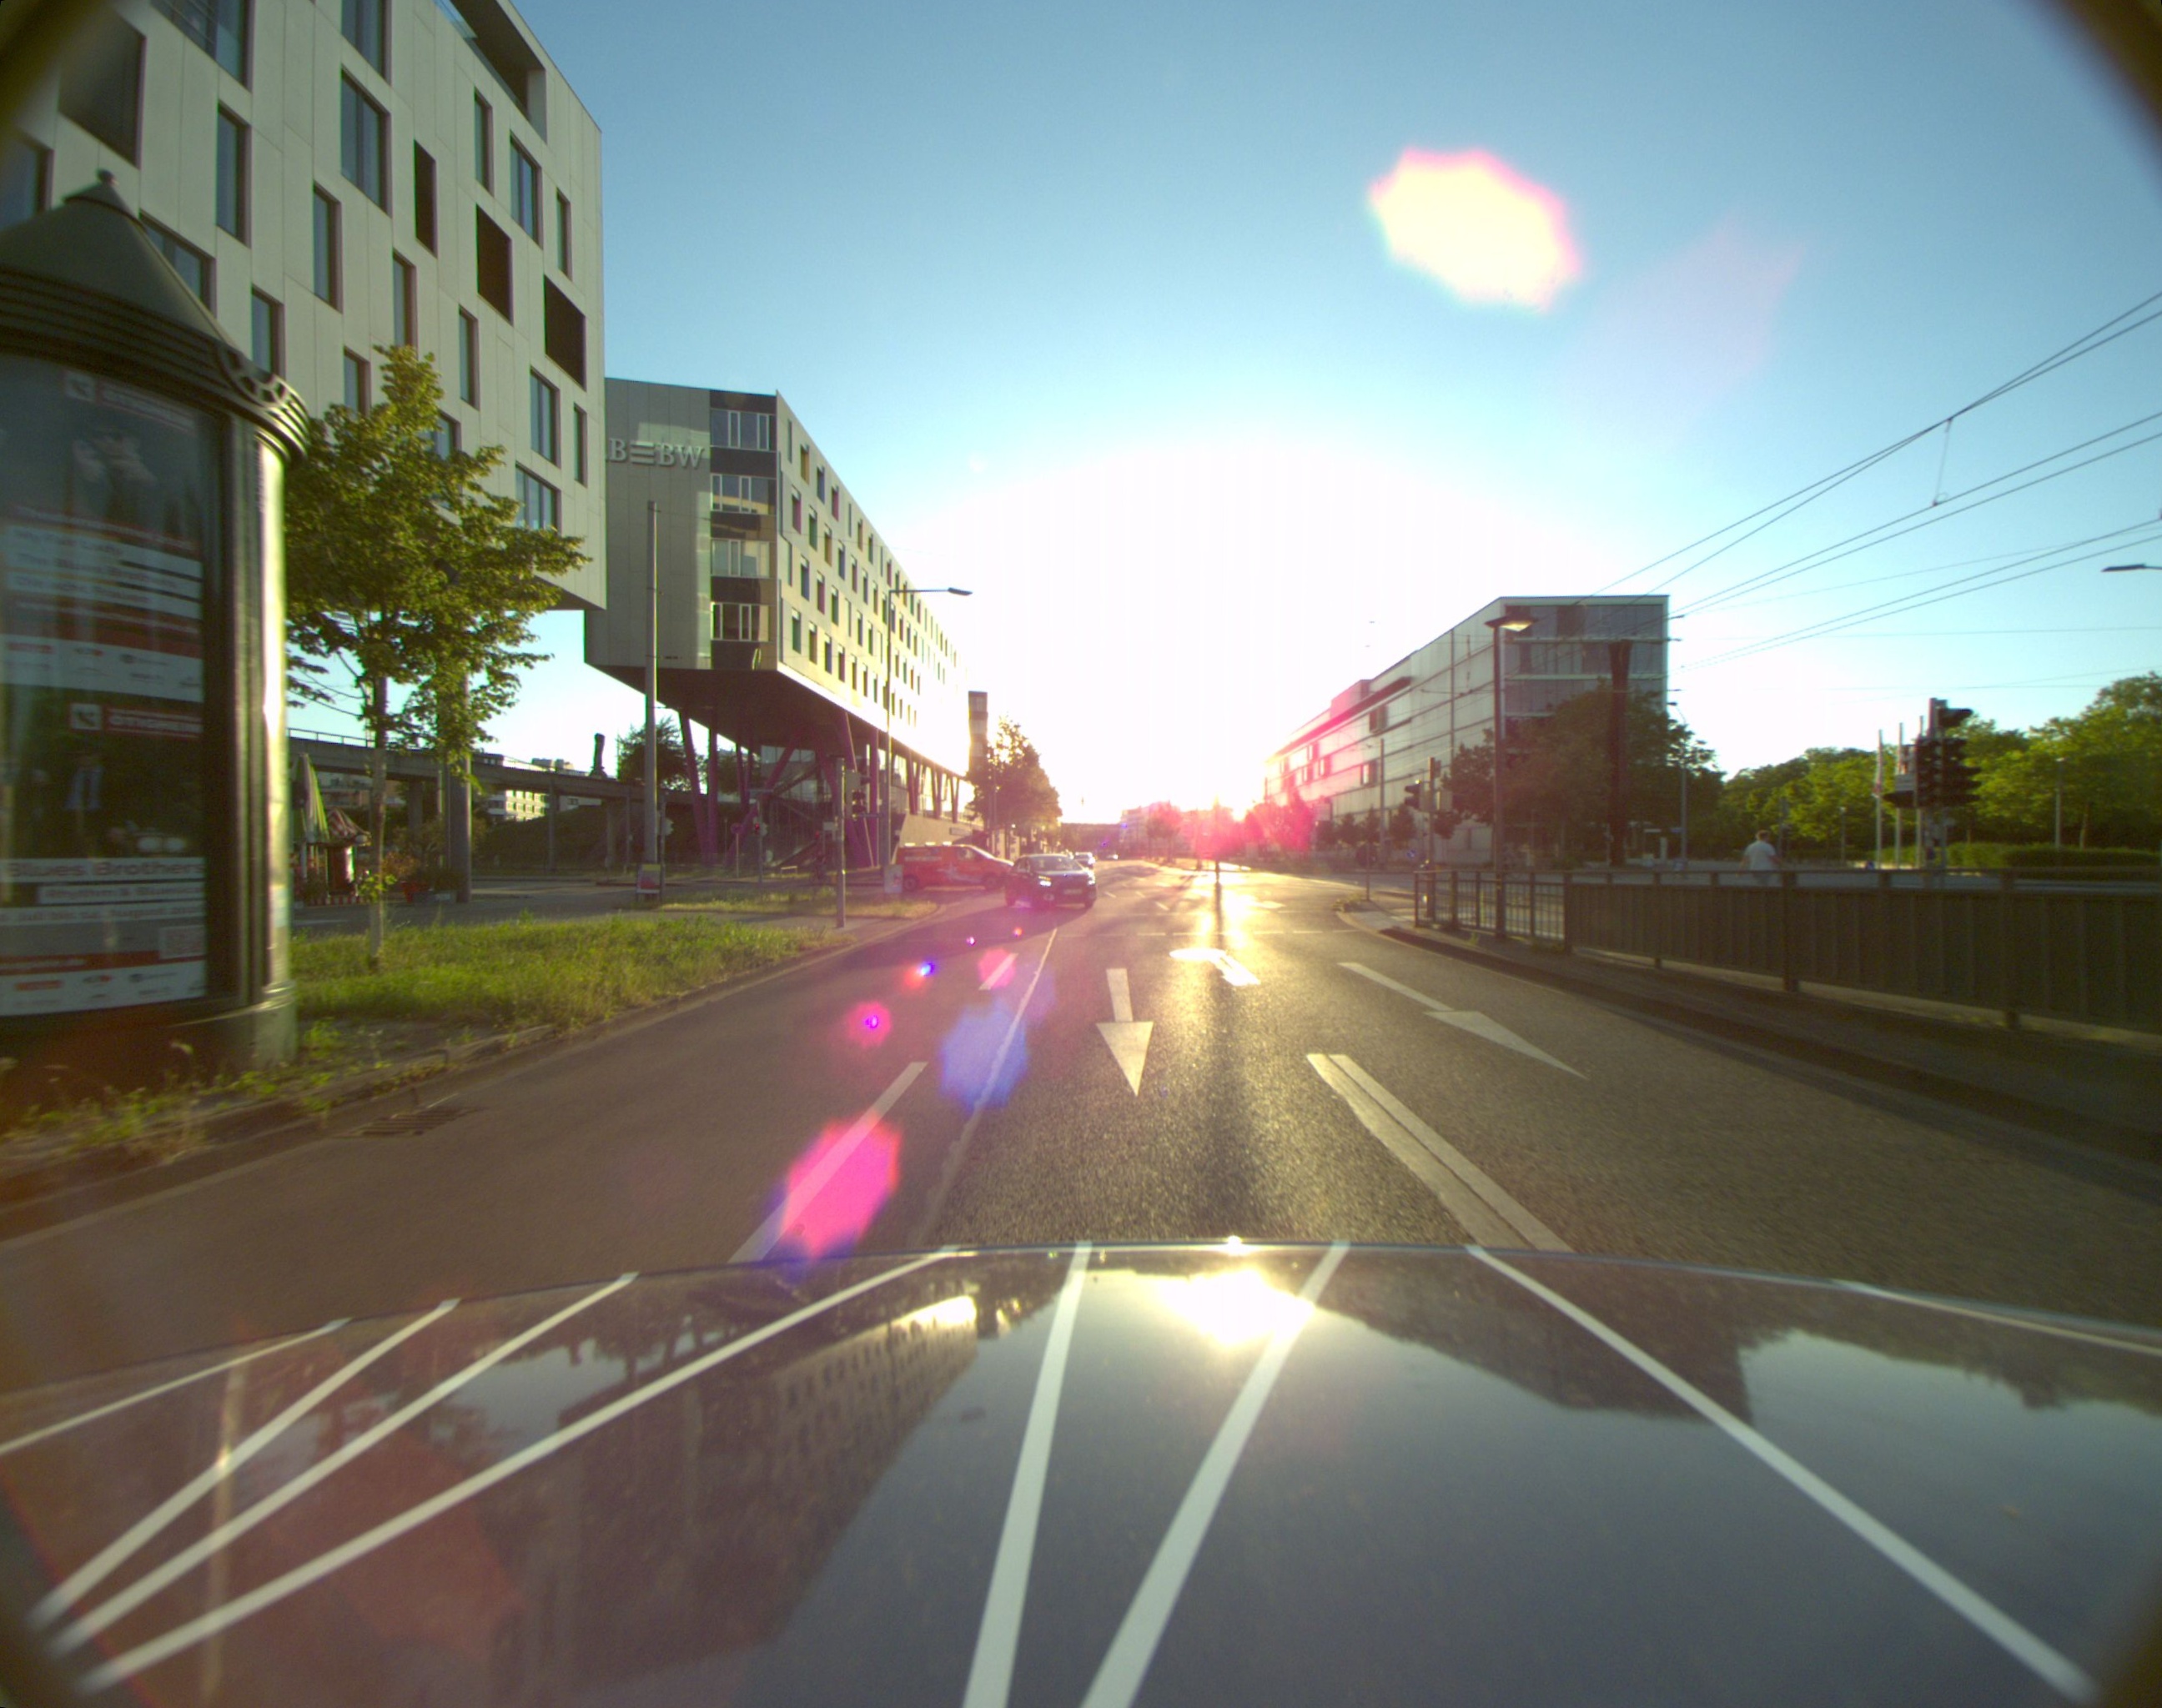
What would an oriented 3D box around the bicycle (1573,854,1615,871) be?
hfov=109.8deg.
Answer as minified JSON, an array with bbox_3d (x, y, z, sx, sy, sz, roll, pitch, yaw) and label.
[{"bbox_3d":[35.237,0.594,52.228,2.391,1.129,0.701,0,1,0],"label":"bicycle"}]

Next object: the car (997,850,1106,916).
[{"bbox_3d":[-0.928,0.713,21.089,1.762,1.543,4.064,-3,2,-21],"label":"car"}]

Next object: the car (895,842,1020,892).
[{"bbox_3d":[-5.019,0.505,31.382,4.818,1.980,1.932,0,2,1],"label":"car"}]

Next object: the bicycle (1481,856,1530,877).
[{"bbox_3d":[21.604,0.620,38.663,2.120,1.062,0.636,0,1,3],"label":"bicycle"}]

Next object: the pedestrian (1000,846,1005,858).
[{"bbox_3d":[-12.978,-0.366,125.742,0.618,2.002,0.812,1,1,2],"label":"pedestrian"}]

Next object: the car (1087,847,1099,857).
[{"bbox_3d":[2.048,-0.387,130.775,1.999,1.696,3.999,0,1,0],"label":"car"}]

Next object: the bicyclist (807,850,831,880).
[{"bbox_3d":[-14.508,0.606,42.059,0.807,1.624,1.288,0,1,4],"label":"bicyclist"}]

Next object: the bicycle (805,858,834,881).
[{"bbox_3d":[-14.494,0.847,42.126,0.742,1.200,2.111,0,1,5],"label":"bicycle"}]

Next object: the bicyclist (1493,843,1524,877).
[{"bbox_3d":[21.740,0.273,38.689,0.995,1.708,1.035,0,1,3],"label":"bicyclist"}]

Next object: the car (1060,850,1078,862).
[{"bbox_3d":[-1.394,0.214,89.375,1.999,1.412,3.999,0,1,0],"label":"car"}]

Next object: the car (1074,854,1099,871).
[{"bbox_3d":[0.515,0.716,65.783,1.998,1.412,4.000,0,1,3],"label":"car"}]

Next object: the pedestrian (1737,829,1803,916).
[{"bbox_3d":[14.540,0.359,16.036,0.803,1.781,0.762,-2,3,-29],"label":"pedestrian"}]
